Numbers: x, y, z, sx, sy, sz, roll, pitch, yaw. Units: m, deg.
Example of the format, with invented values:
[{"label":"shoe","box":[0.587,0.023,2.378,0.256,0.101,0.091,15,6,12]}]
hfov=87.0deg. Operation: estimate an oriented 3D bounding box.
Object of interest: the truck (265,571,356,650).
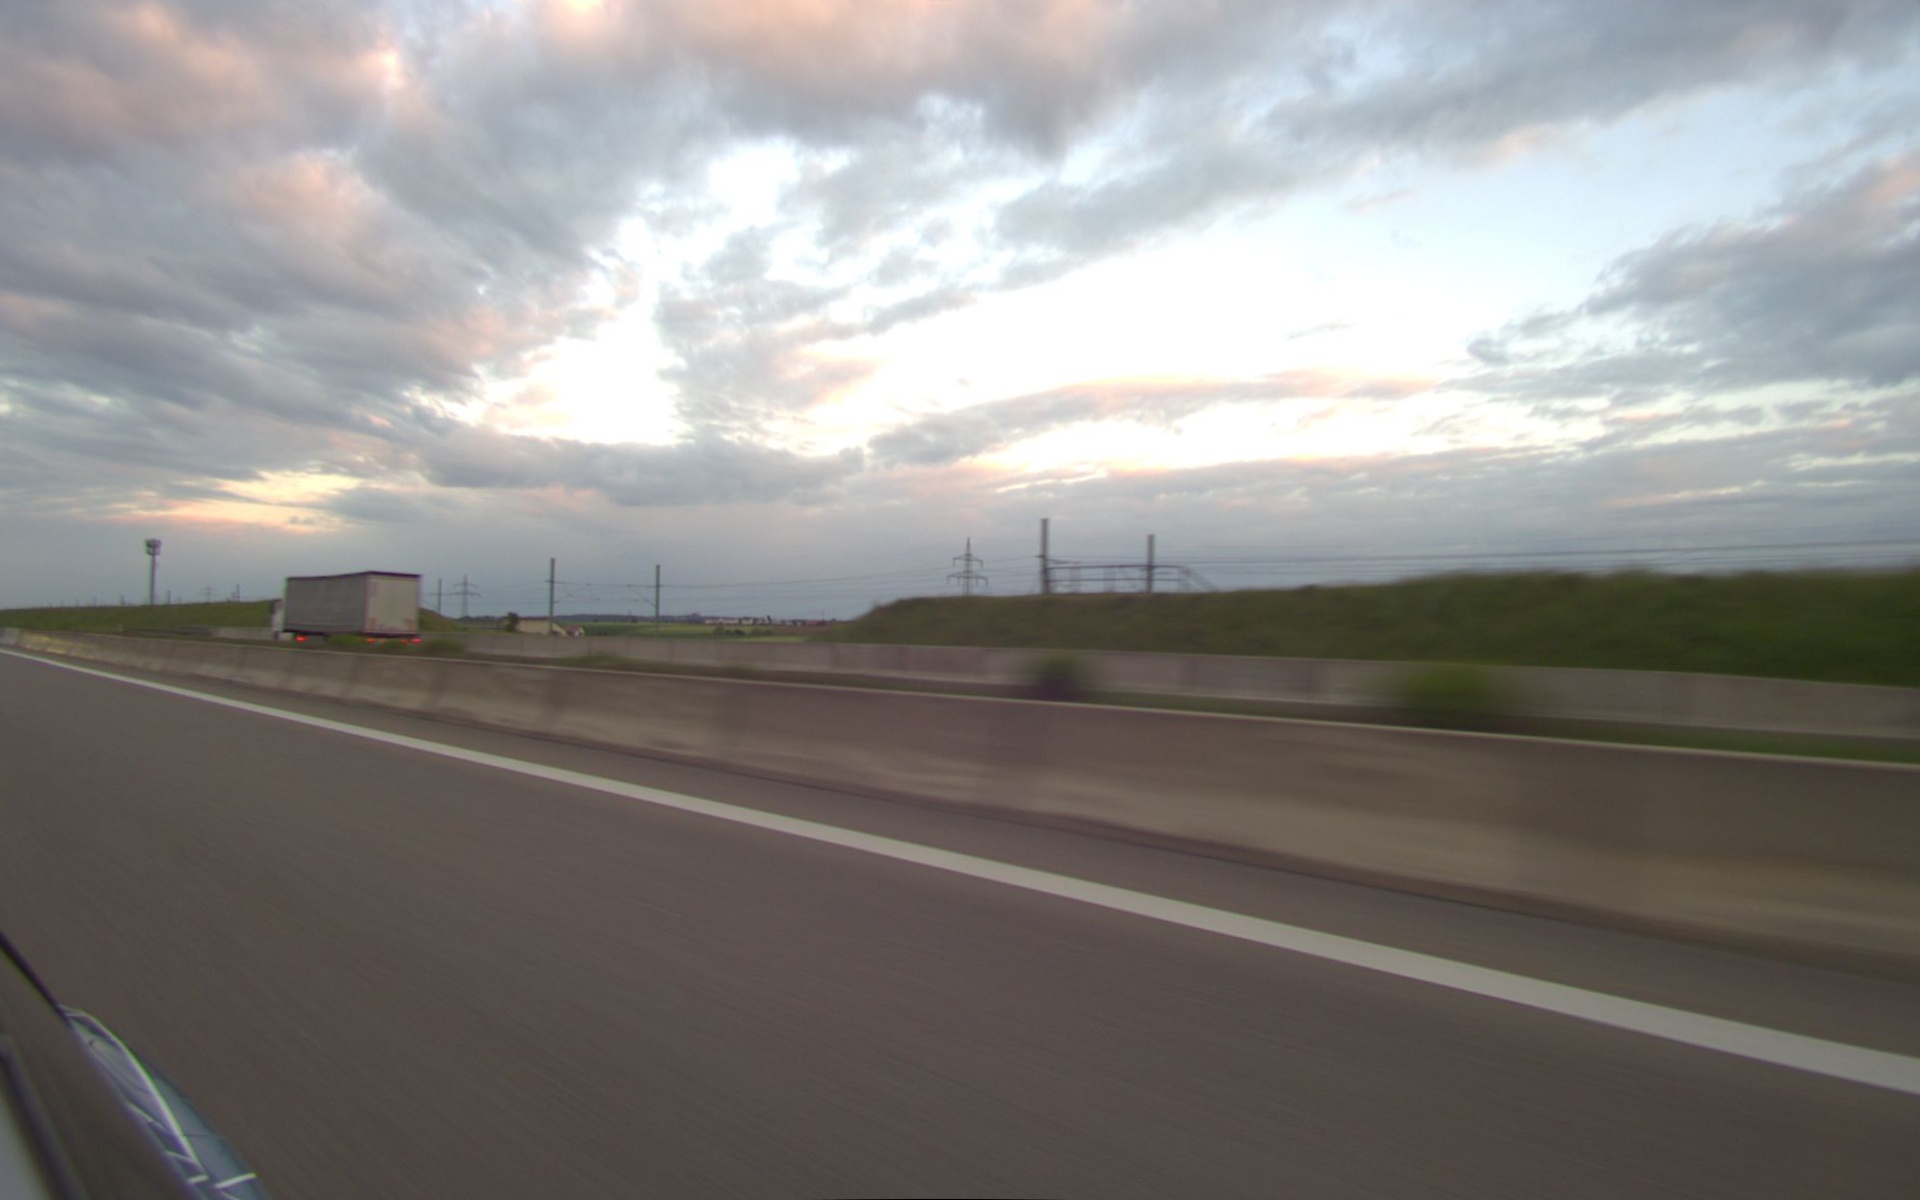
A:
[{"label":"truck","box":[-38.328,0.631,59.632,6.736,4.385,2.788,-1,-1,42]}]

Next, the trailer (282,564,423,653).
[{"label":"trailer","box":[-33.360,0.521,55.235,12.831,4.385,2.788,-1,-1,41]}]
